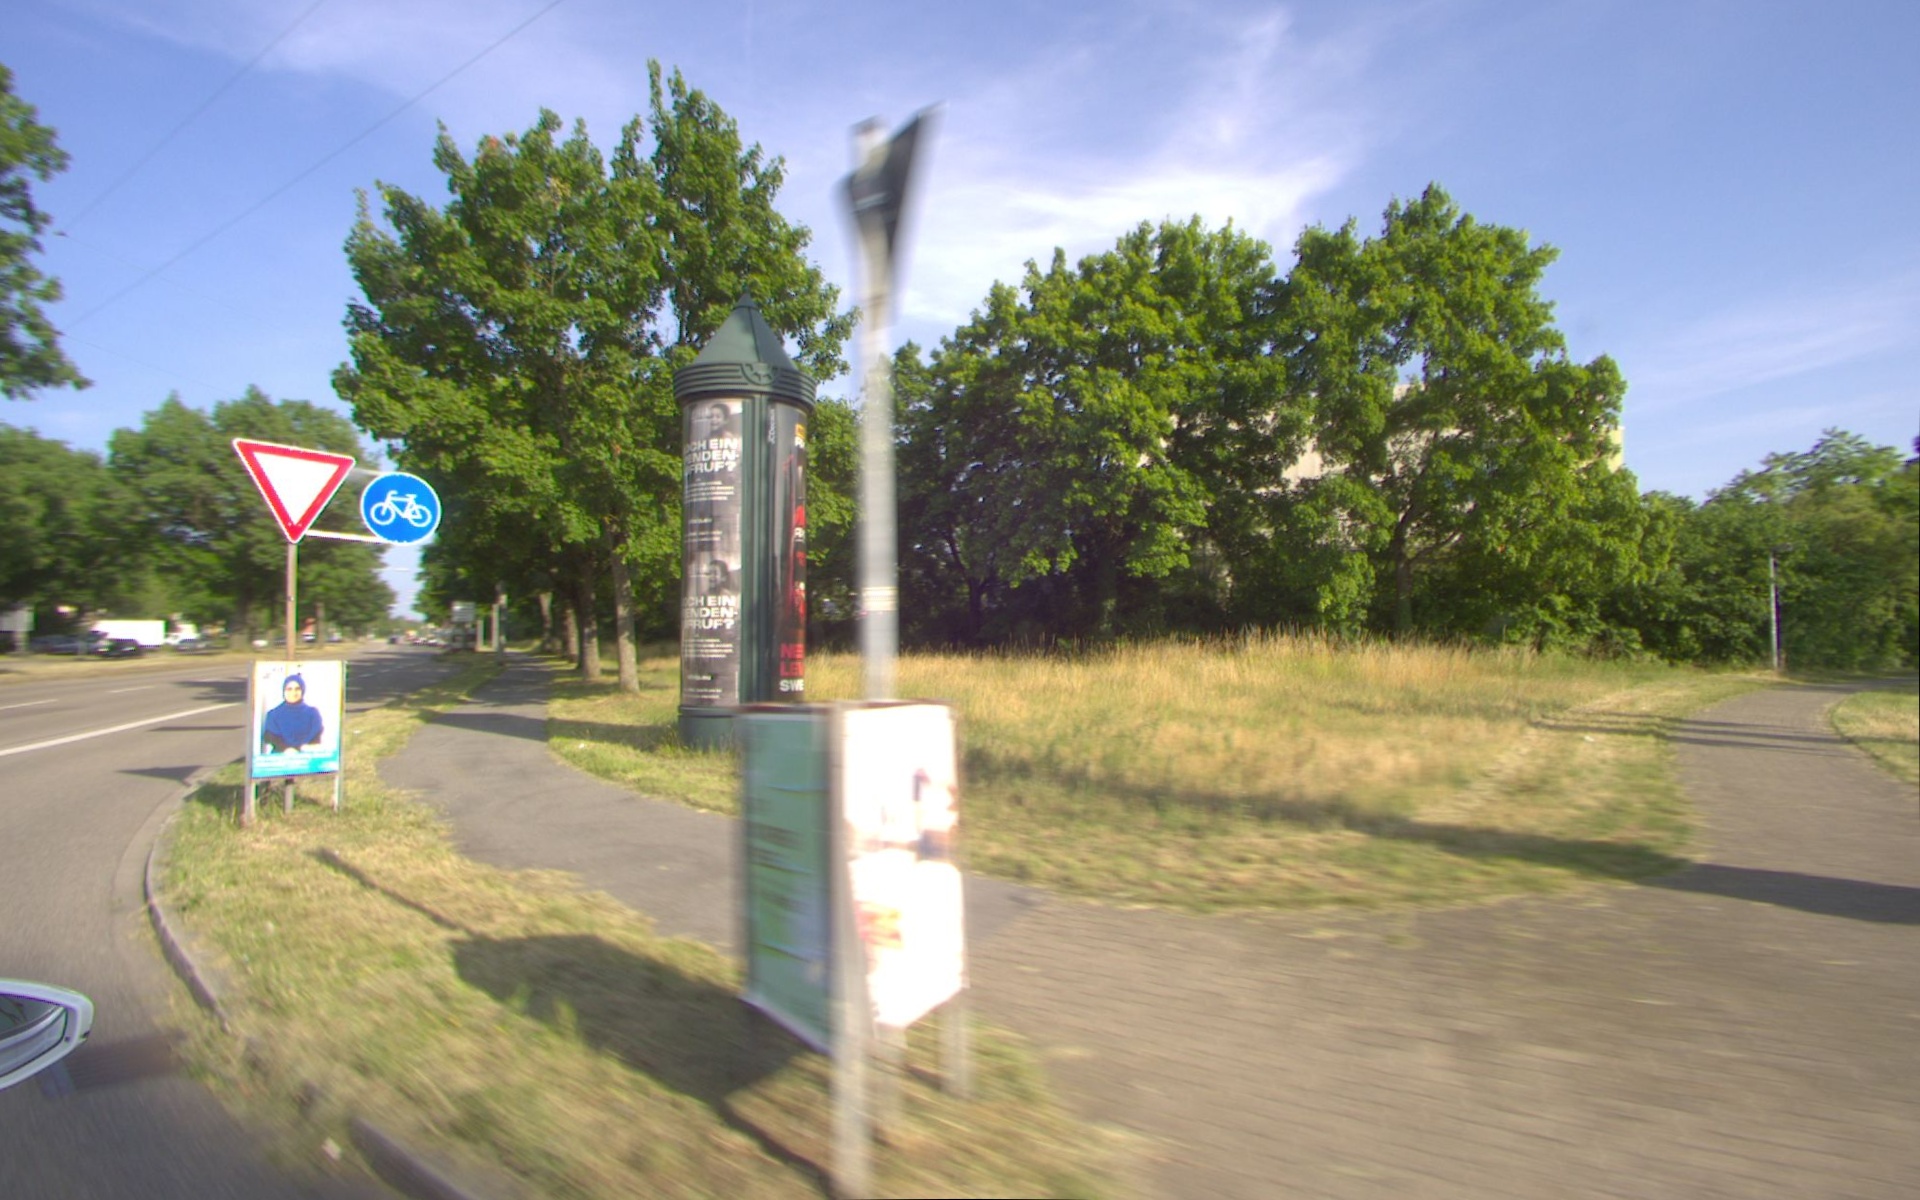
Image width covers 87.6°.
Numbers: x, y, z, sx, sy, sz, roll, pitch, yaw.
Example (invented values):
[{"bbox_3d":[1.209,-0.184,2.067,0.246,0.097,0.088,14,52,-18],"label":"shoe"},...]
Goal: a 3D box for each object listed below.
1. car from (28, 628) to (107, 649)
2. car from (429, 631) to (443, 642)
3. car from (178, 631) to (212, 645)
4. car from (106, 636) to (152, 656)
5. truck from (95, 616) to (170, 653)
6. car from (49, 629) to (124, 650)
[{"bbox_3d":[-74.705,3.224,83.915,1.967,1.745,4.529,-1,-2,24],"label":"car"},{"bbox_3d":[-100.031,6.895,191.225,1.973,2.039,3.976,1,-2,-33],"label":"car"},{"bbox_3d":[-83.404,4.156,109.216,1.886,1.468,4.269,0,-3,-23],"label":"car"},{"bbox_3d":[-61.542,3.385,74.245,1.689,1.371,3.985,1,-2,-26],"label":"car"},{"bbox_3d":[-80.747,3.370,97.846,1.964,3.509,5.499,0,-2,17],"label":"truck"},{"bbox_3d":[-76.096,3.459,87.327,1.967,1.745,4.529,-1,-2,24],"label":"car"}]
